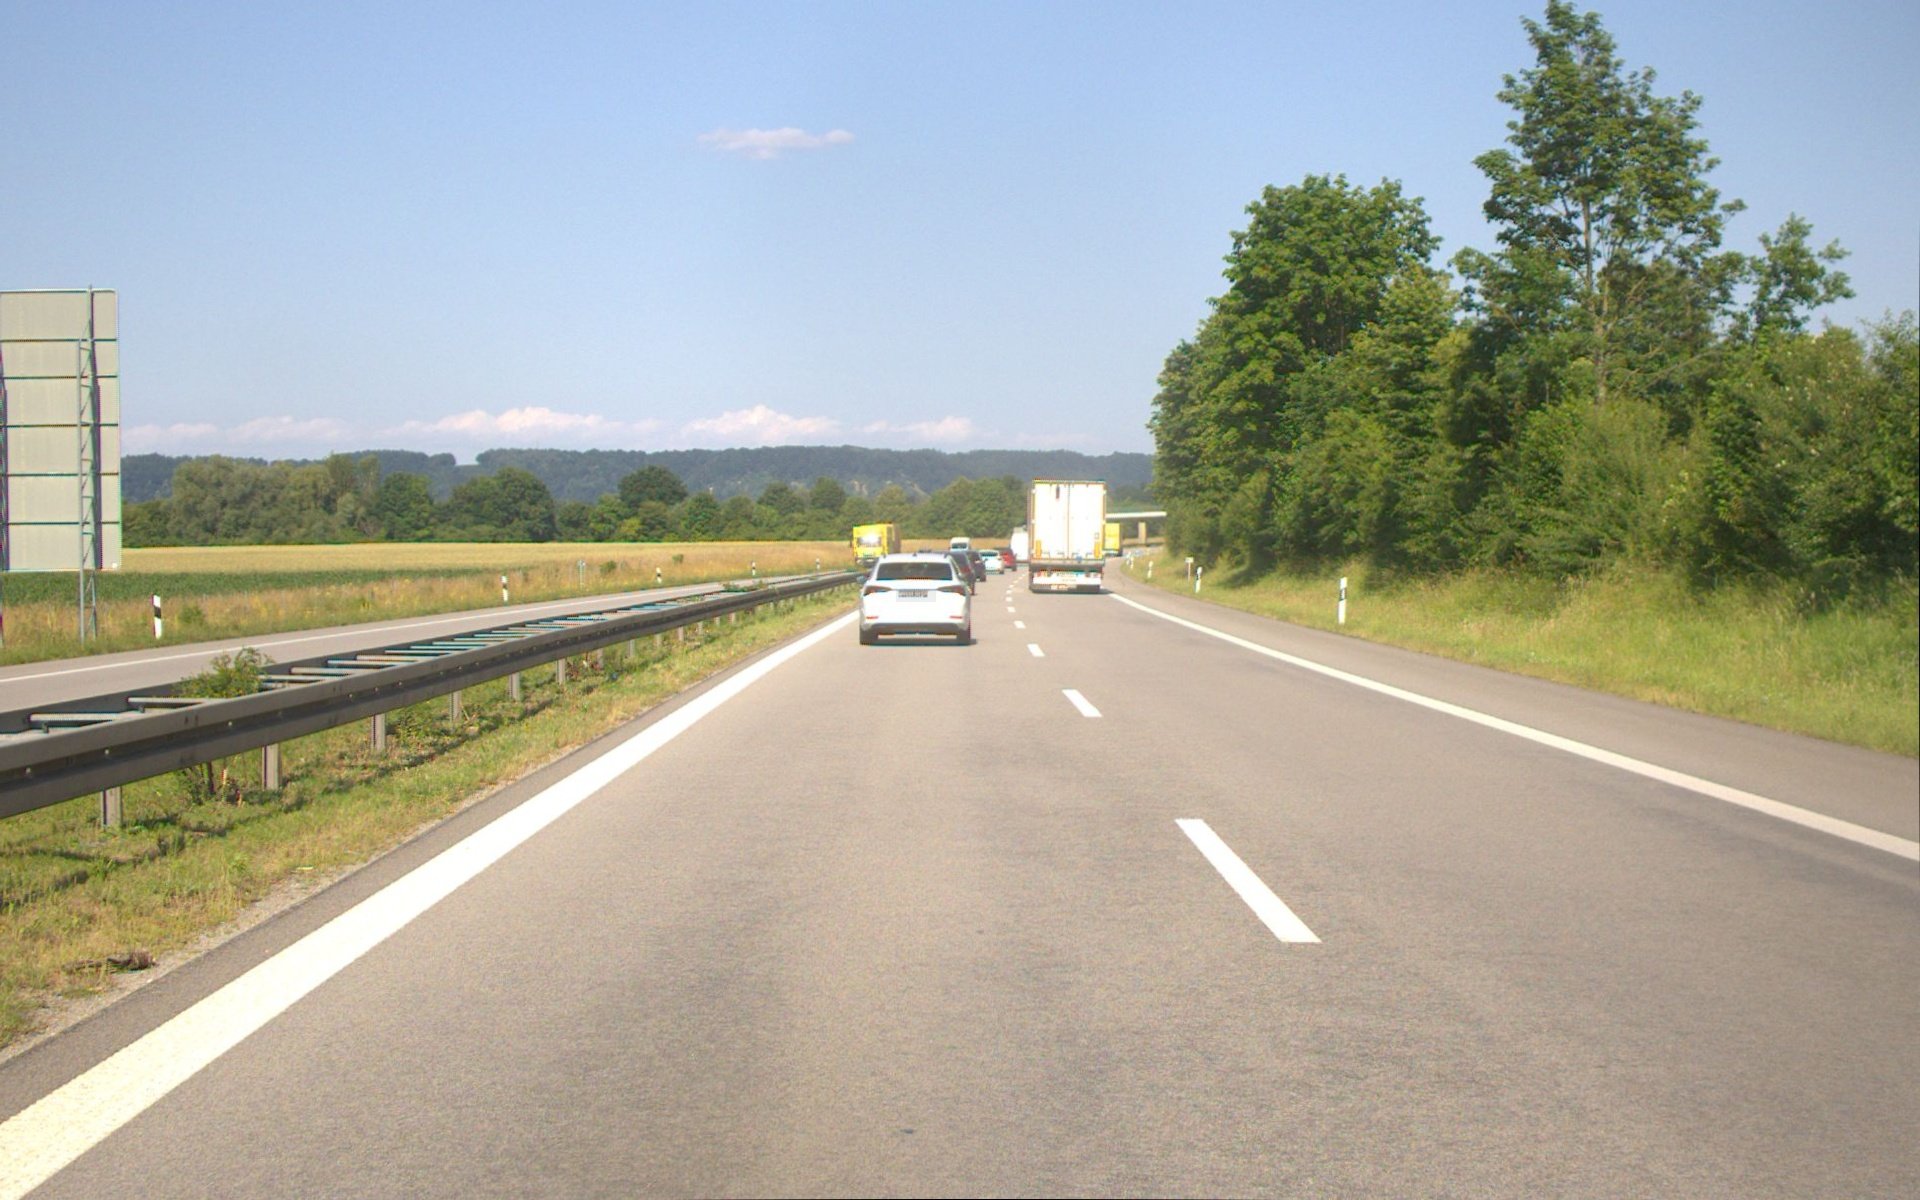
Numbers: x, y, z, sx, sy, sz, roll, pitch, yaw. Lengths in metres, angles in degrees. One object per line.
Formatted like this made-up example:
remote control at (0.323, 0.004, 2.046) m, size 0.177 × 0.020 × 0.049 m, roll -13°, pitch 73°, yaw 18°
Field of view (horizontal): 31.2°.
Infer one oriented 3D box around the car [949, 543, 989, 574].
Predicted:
car at (0.411, -1.938, 159.661) m, size 1.771 × 1.416 × 4.365 m, roll 1°, pitch 1°, yaw 1°

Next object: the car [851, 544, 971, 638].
car at (-0.784, -0.184, 56.090) m, size 1.840 × 1.416 × 5.255 m, roll 1°, pitch 1°, yaw -1°

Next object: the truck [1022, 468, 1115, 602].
truck at (3.871, -2.344, 123.607) m, size 3.152 × 4.596 × 8.905 m, roll -1°, pitch 1°, yaw 1°

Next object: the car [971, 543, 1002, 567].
car at (1.566, -2.643, 201.555) m, size 1.771 × 1.416 × 4.365 m, roll 1°, pitch 1°, yaw 1°

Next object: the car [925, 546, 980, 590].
car at (-0.252, -1.083, 114.540) m, size 1.771 × 1.416 × 4.495 m, roll 1°, pitch 1°, yaw 0°

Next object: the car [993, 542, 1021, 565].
car at (3.056, -3.006, 221.729) m, size 1.771 × 1.416 × 4.365 m, roll 1°, pitch 1°, yaw 1°
